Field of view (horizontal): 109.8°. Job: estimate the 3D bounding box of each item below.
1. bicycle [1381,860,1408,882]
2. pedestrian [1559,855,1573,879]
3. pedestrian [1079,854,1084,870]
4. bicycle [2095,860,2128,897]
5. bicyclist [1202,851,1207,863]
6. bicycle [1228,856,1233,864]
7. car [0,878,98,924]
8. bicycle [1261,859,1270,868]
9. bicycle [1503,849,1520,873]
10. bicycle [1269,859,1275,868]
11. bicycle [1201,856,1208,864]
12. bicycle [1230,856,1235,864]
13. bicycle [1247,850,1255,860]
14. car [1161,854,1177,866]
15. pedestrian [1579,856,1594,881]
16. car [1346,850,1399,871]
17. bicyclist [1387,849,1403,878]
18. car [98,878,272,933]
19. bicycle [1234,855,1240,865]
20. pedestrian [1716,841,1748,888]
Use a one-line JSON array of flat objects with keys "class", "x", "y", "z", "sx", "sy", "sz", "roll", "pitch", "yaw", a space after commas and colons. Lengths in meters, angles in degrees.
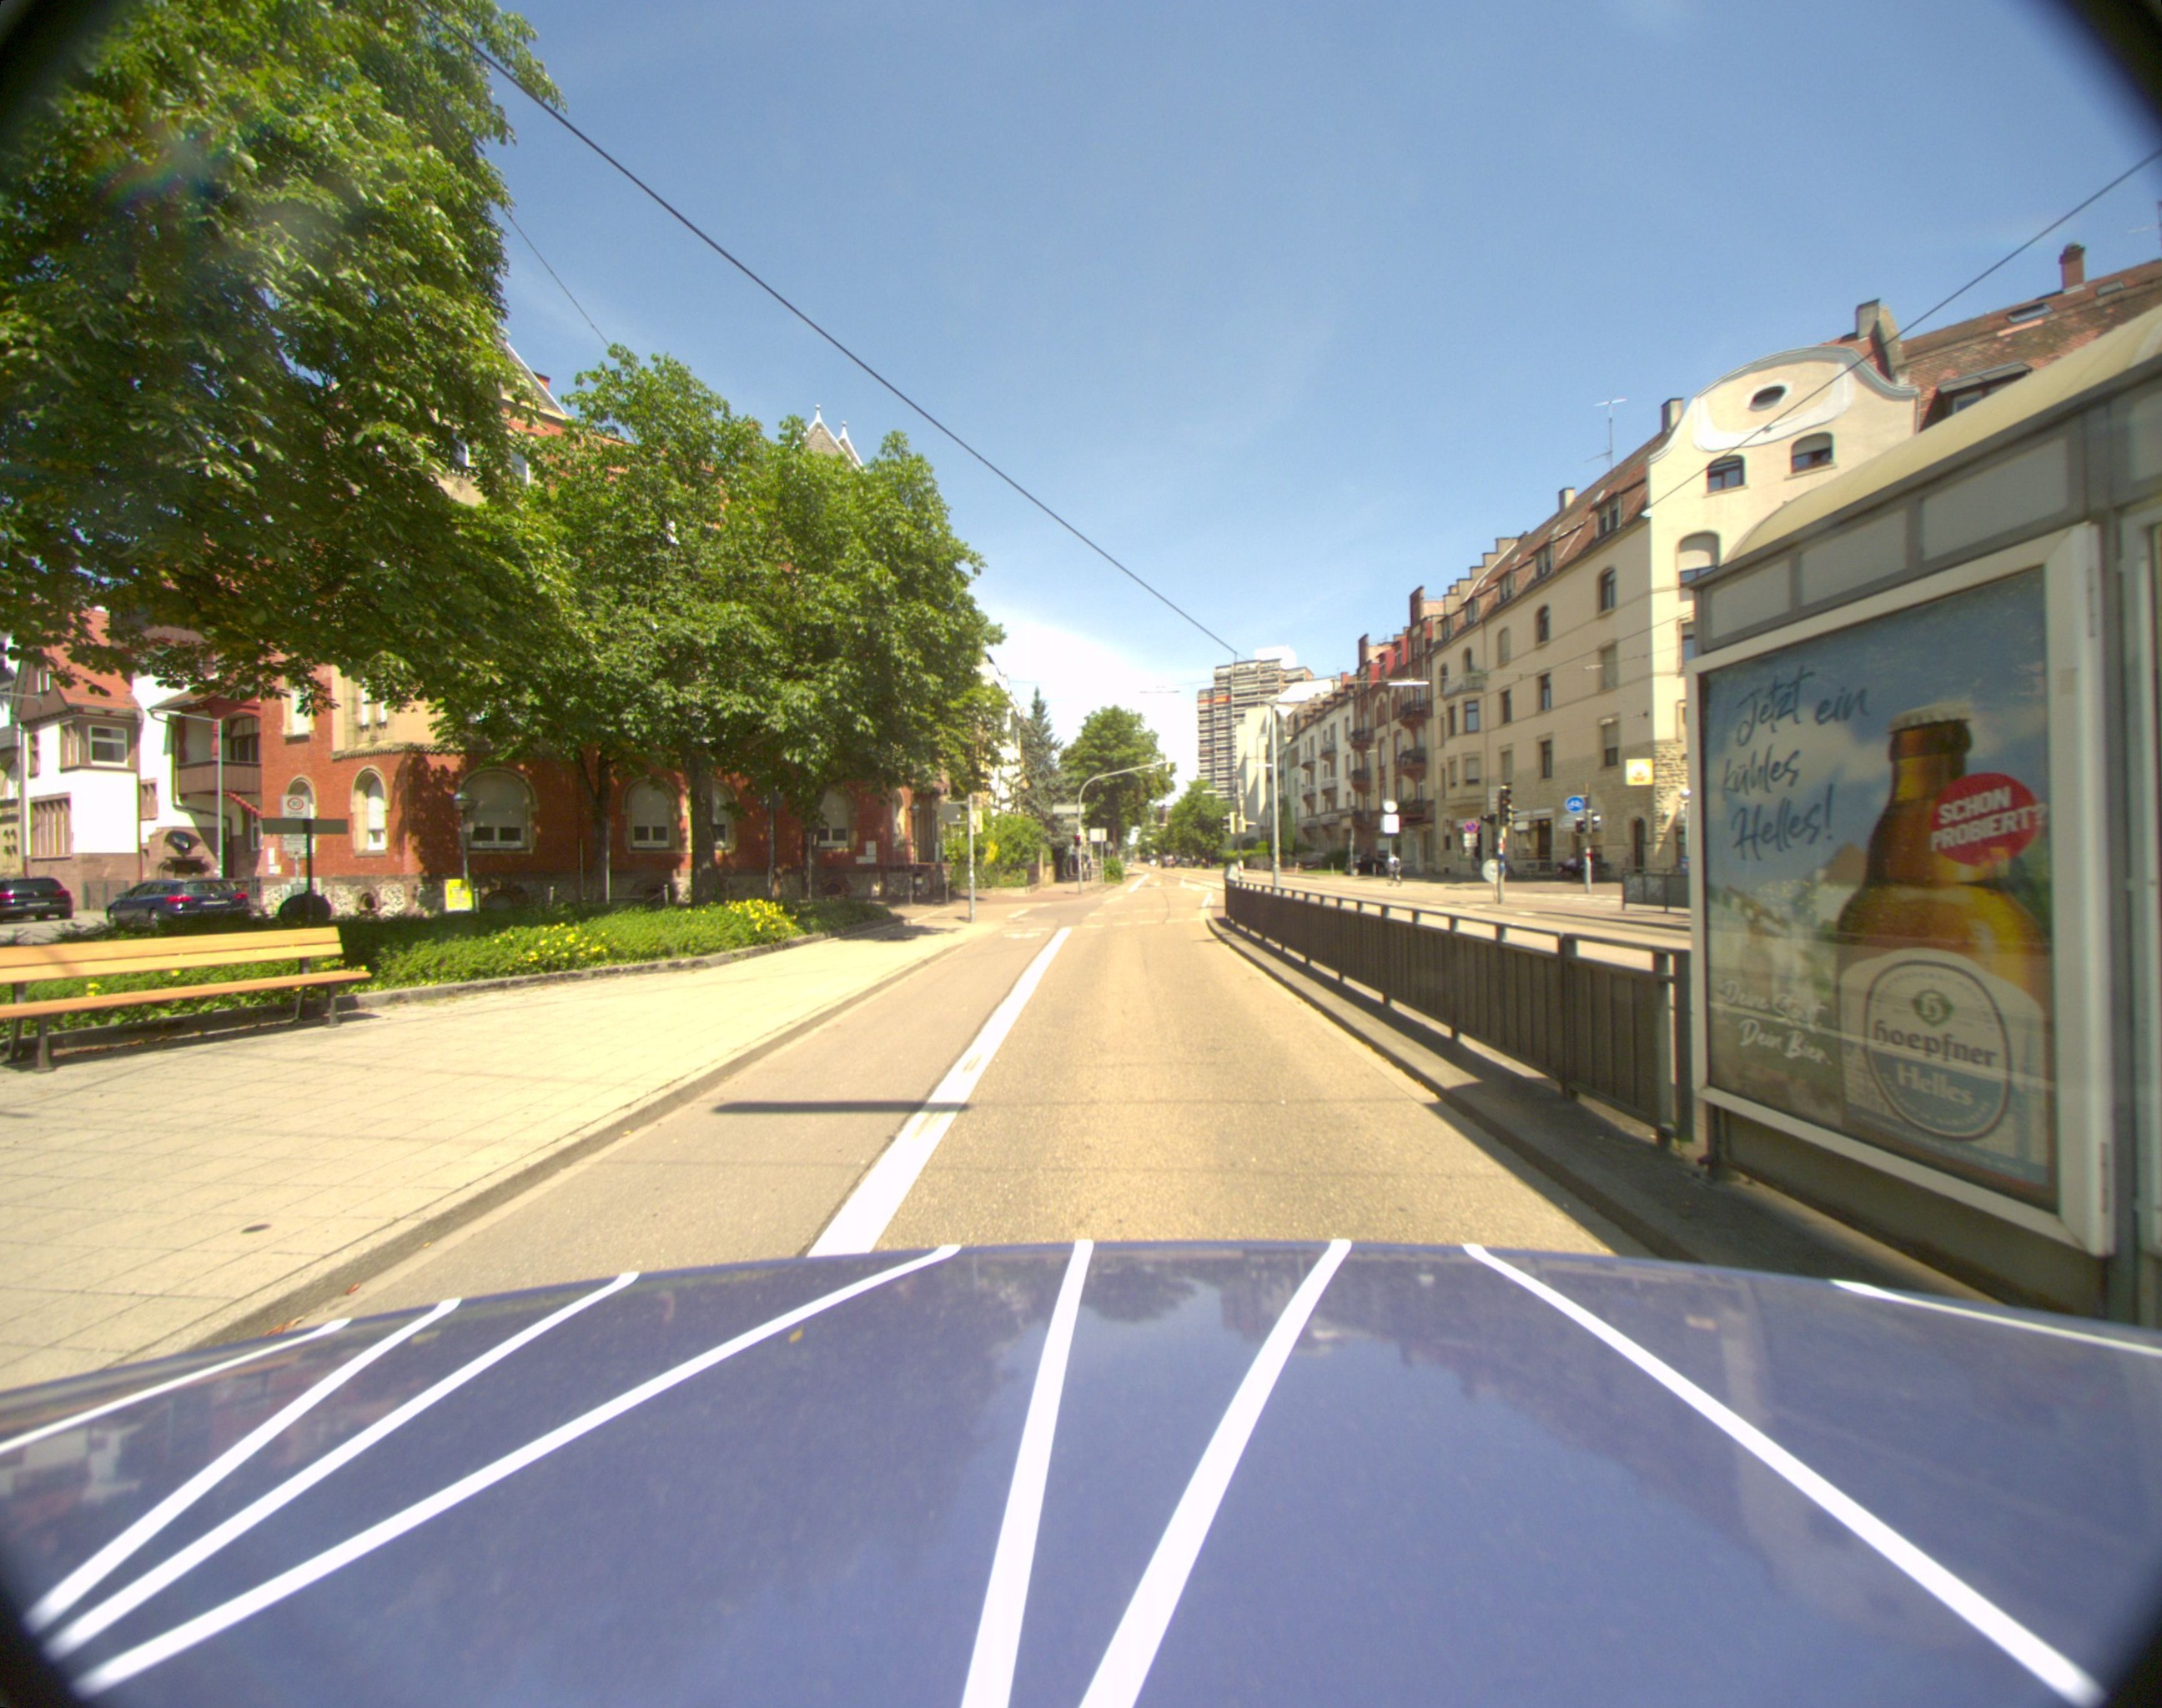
[{"class": "bicycle", "x": 16.881, "y": 0.886, "z": 40.947, "sx": 0.629, "sy": 1.150, "sz": 1.978, "roll": -2, "pitch": 0, "yaw": 2}, {"class": "pedestrian", "x": 22.971, "y": 0.615, "z": 36.002, "sx": 0.355, "sy": 1.083, "sz": 0.405, "roll": -2, "pitch": 1, "yaw": -1}, {"class": "pedestrian", "x": 0.072, "y": 0.829, "z": 79.640, "sx": 0.547, "sy": 1.683, "sz": 0.755, "roll": -1, "pitch": 1, "yaw": 2}, {"class": "bicycle", "x": 29.361, "y": 0.694, "z": 21.658, "sx": 0.289, "sy": 0.968, "sz": 1.676, "roll": -1, "pitch": 1, "yaw": 44}, {"class": "bicyclist", "x": 16.326, "y": 0.416, "z": 100.239, "sx": 0.611, "sy": 1.653, "sz": 0.579, "roll": -1, "pitch": 0, "yaw": 1}, {"class": "bicycle", "x": 20.123, "y": 0.778, "z": 102.524, "sx": 0.340, "sy": 1.062, "sz": 1.728, "roll": -2, "pitch": 1, "yaw": 2}, {"class": "car", "x": -39.783, "y": 1.761, "z": 28.621, "sx": 5.477, "sy": 1.523, "sz": 1.991, "roll": -2, "pitch": 1, "yaw": 23}, {"class": "bicycle", "x": 19.455, "y": 0.994, "z": 80.009, "sx": 0.463, "sy": 0.943, "sz": 1.954, "roll": -2, "pitch": 0, "yaw": 2}, {"class": "bicycle", "x": 23.231, "y": 0.370, "z": 41.019, "sx": 0.454, "sy": 1.218, "sz": 2.083, "roll": -1, "pitch": 1, "yaw": 21}, {"class": "bicycle", "x": 19.064, "y": 0.961, "z": 75.762, "sx": 0.253, "sy": 0.911, "sz": 1.615, "roll": -2, "pitch": 0, "yaw": 2}, {"class": "bicycle", "x": 16.331, "y": 0.823, "z": 100.327, "sx": 0.645, "sy": 1.068, "sz": 2.187, "roll": -1, "pitch": 0, "yaw": 2}, {"class": "bicycle", "x": 20.045, "y": 0.803, "z": 100.580, "sx": 0.340, "sy": 1.062, "sz": 1.728, "roll": -2, "pitch": 1, "yaw": 2}, {"class": "bicycle", "x": 19.649, "y": 0.112, "z": 87.919, "sx": 0.493, "sy": 1.090, "sz": 2.047, "roll": -2, "pitch": 0, "yaw": 2}, {"class": "car", "x": 14.493, "y": 0.932, "z": 125.688, "sx": 1.849, "sy": 1.926, "sz": 4.821, "roll": 0, "pitch": 1, "yaw": -3}, {"class": "pedestrian", "x": 23.218, "y": 0.659, "z": 34.905, "sx": 0.406, "sy": 1.142, "sz": 0.405, "roll": -2, "pitch": 1, "yaw": -1}, {"class": "car", "x": 21.725, "y": 0.488, "z": 56.758, "sx": 3.361, "sy": 1.463, "sz": 1.530, "roll": -2, "pitch": 0, "yaw": 6}, {"class": "bicyclist", "x": 16.874, "y": 0.501, "z": 40.862, "sx": 0.609, "sy": 1.565, "sz": 0.585, "roll": -2, "pitch": 1, "yaw": 2}, {"class": "car", "x": -27.144, "y": 1.530, "z": 23.013, "sx": 4.748, "sy": 1.433, "sz": 1.908, "roll": -2, "pitch": 1, "yaw": 21}, {"class": "bicycle", "x": 20.097, "y": 0.768, "z": 97.885, "sx": 0.340, "sy": 1.157, "sz": 1.933, "roll": -2, "pitch": 1, "yaw": 2}, {"class": "pedestrian", "x": 24.383, "y": 0.385, "z": 28.470, "sx": 0.545, "sy": 1.721, "sz": 0.728, "roll": -2, "pitch": 1, "yaw": -1}]
